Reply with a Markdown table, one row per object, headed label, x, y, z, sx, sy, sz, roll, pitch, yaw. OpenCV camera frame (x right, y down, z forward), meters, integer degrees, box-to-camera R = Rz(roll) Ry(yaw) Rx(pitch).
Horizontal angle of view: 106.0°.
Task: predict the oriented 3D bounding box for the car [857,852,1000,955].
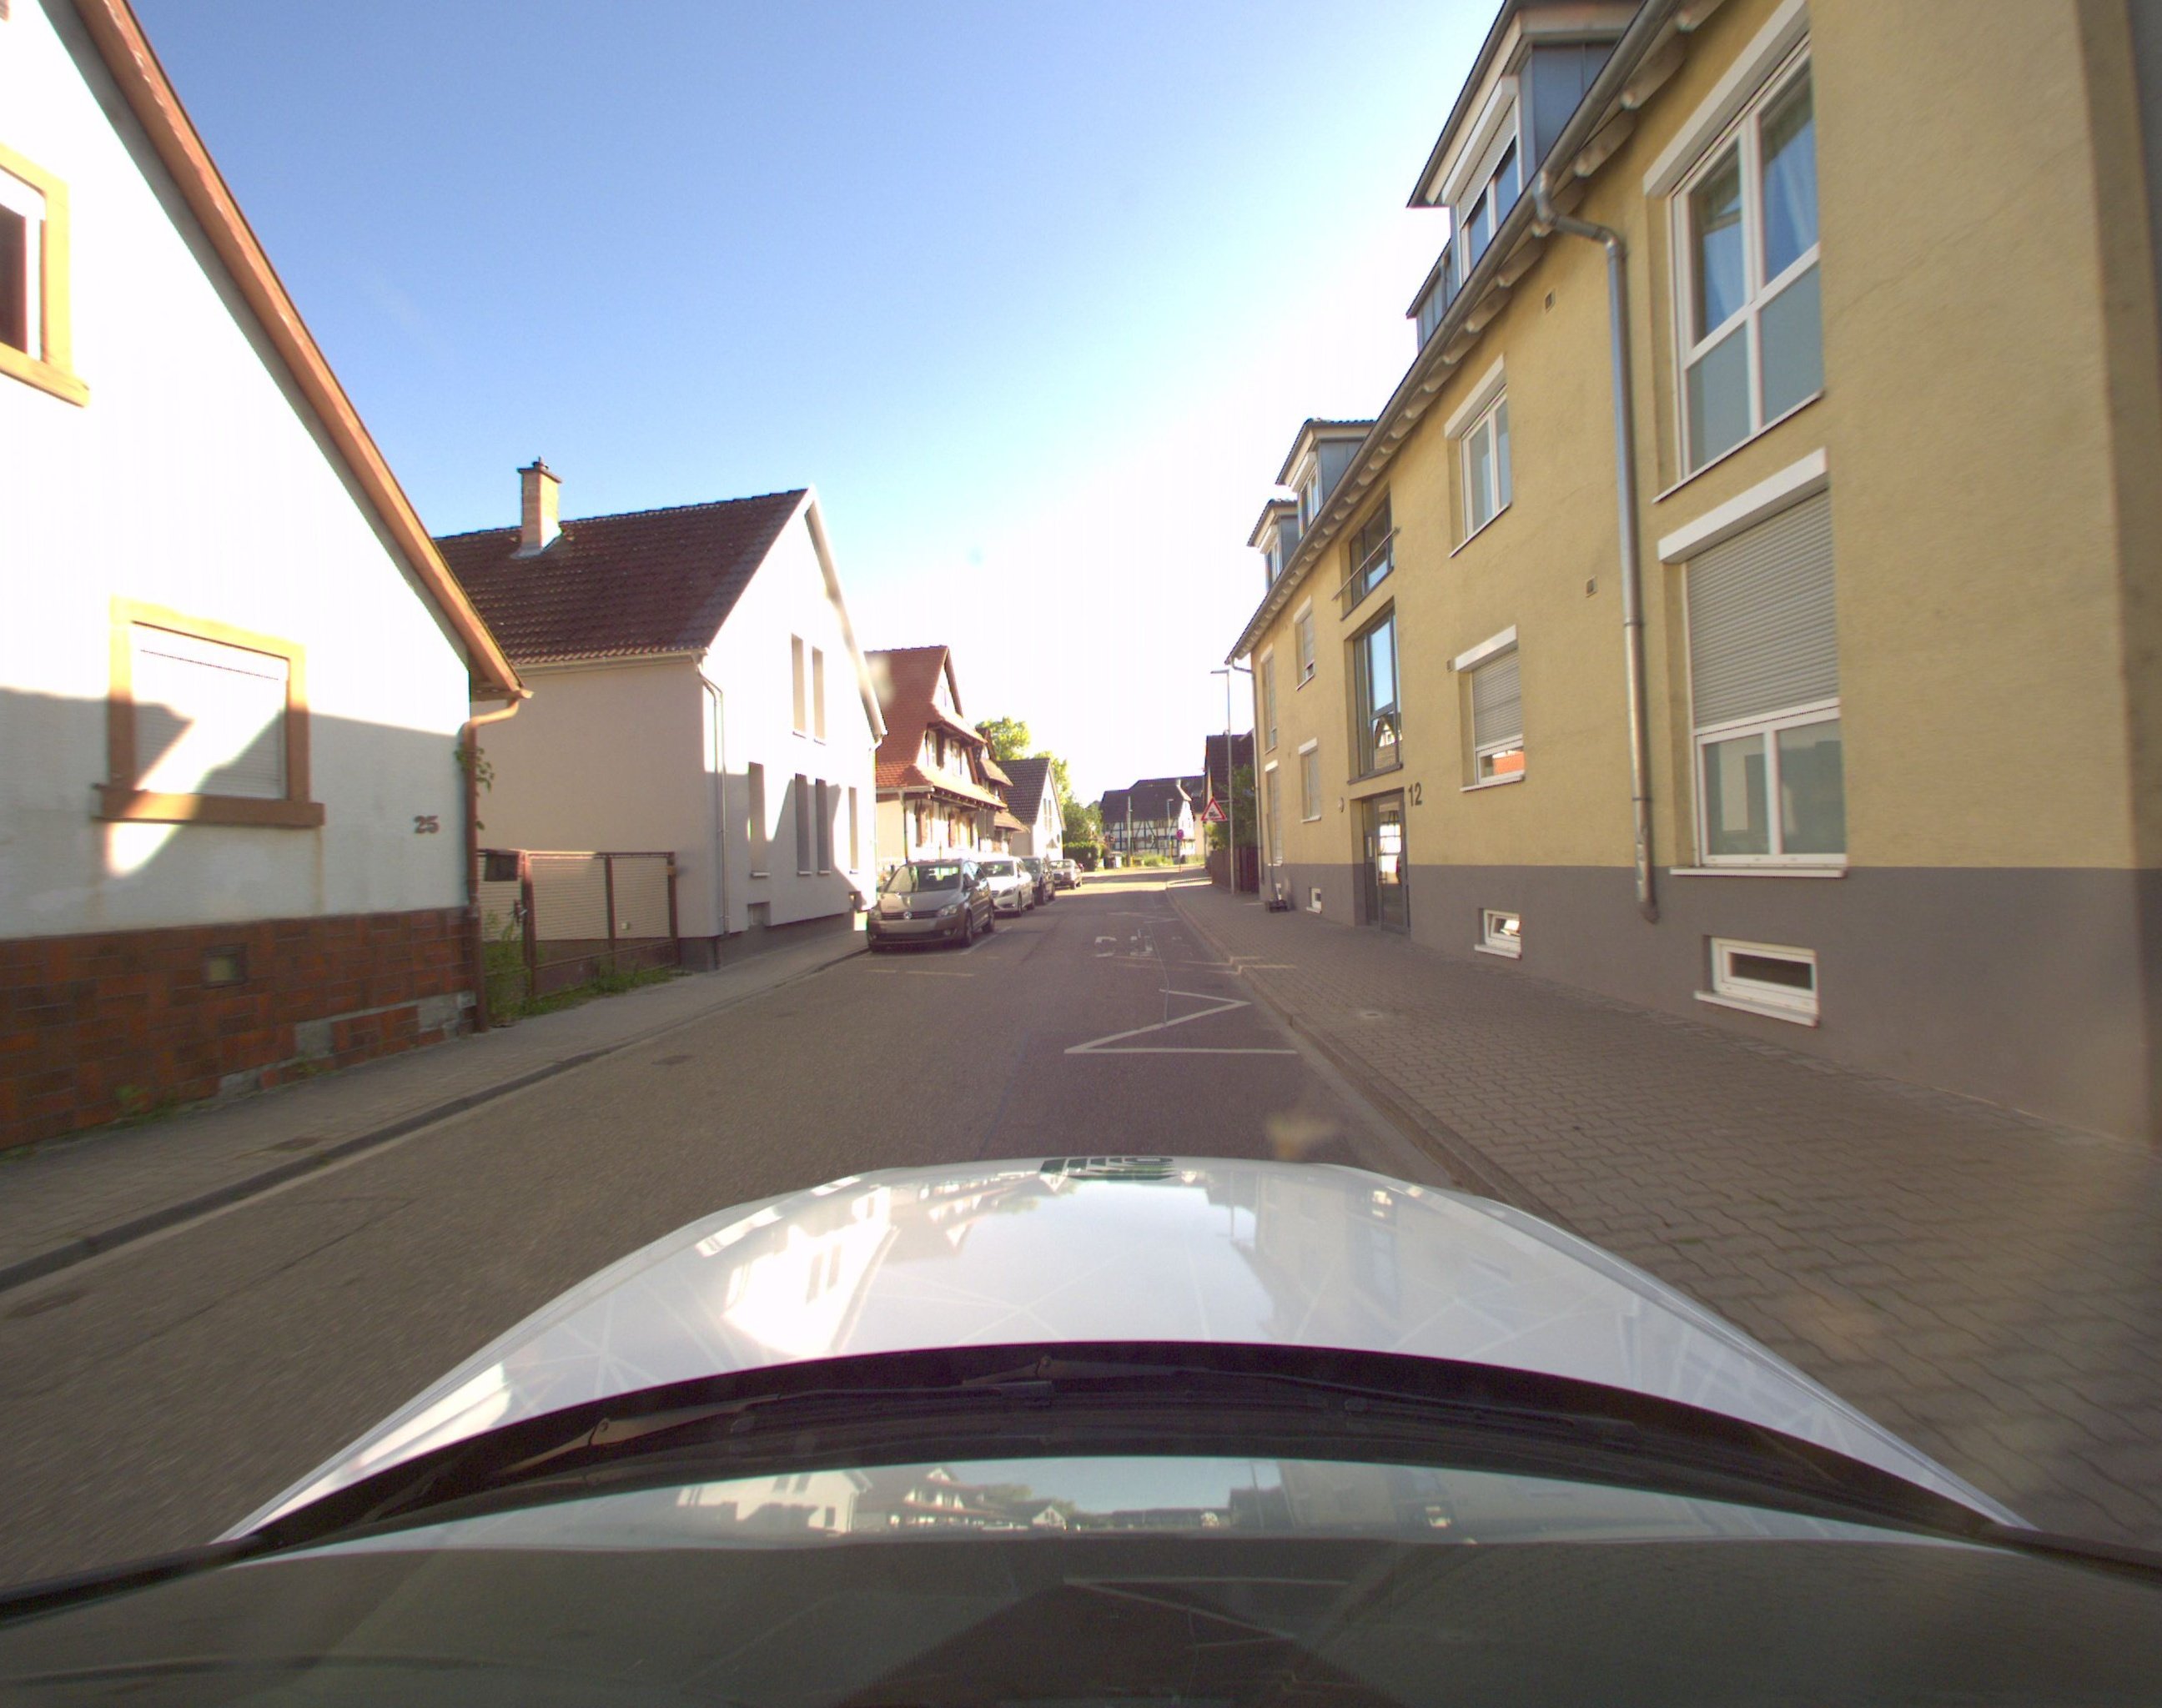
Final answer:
| label | x | y | z | sx | sy | sz | roll | pitch | yaw |
| --- | --- | --- | --- | --- | --- | --- | --- | --- | --- |
| car | -2.705 | 0.828 | 15.356 | 1.735 | 1.614 | 4.002 | -2 | -1 | 2 |

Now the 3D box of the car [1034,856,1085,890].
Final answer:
| label | x | y | z | sx | sy | sz | roll | pitch | yaw |
| --- | --- | --- | --- | --- | --- | --- | --- | --- | --- |
| car | -0.963 | 0.874 | 39.261 | 1.836 | 1.406 | 5.043 | -4 | -1 | 5 |

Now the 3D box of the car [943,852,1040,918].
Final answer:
| label | x | y | z | sx | sy | sz | roll | pitch | yaw |
| --- | --- | --- | --- | --- | --- | --- | --- | --- | --- |
| car | -2.340 | 0.796 | 22.323 | 1.808 | 1.567 | 4.173 | -2 | -1 | 5 |

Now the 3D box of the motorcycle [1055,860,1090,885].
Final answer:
| label | x | y | z | sx | sy | sz | roll | pitch | yaw |
| --- | --- | --- | --- | --- | --- | --- | --- | --- | --- |
| motorcycle | -0.454 | 0.981 | 42.916 | 0.630 | 1.231 | 1.971 | -3 | 0 | -41 |

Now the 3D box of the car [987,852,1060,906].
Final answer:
| label | x | y | z | sx | sy | sz | roll | pitch | yaw |
| --- | --- | --- | --- | --- | --- | --- | --- | --- | --- |
| car | -1.870 | 0.797 | 27.790 | 1.775 | 1.604 | 4.367 | -2 | 0 | 5 |

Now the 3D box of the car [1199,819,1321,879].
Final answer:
| label | x | y | z | sx | sy | sz | roll | pitch | yaw |
| --- | --- | --- | --- | --- | --- | --- | --- | --- | --- |
| car | 9.258 | -0.213 | 42.393 | 5.784 | 2.655 | 1.968 | -4 | -2 | 0 |
